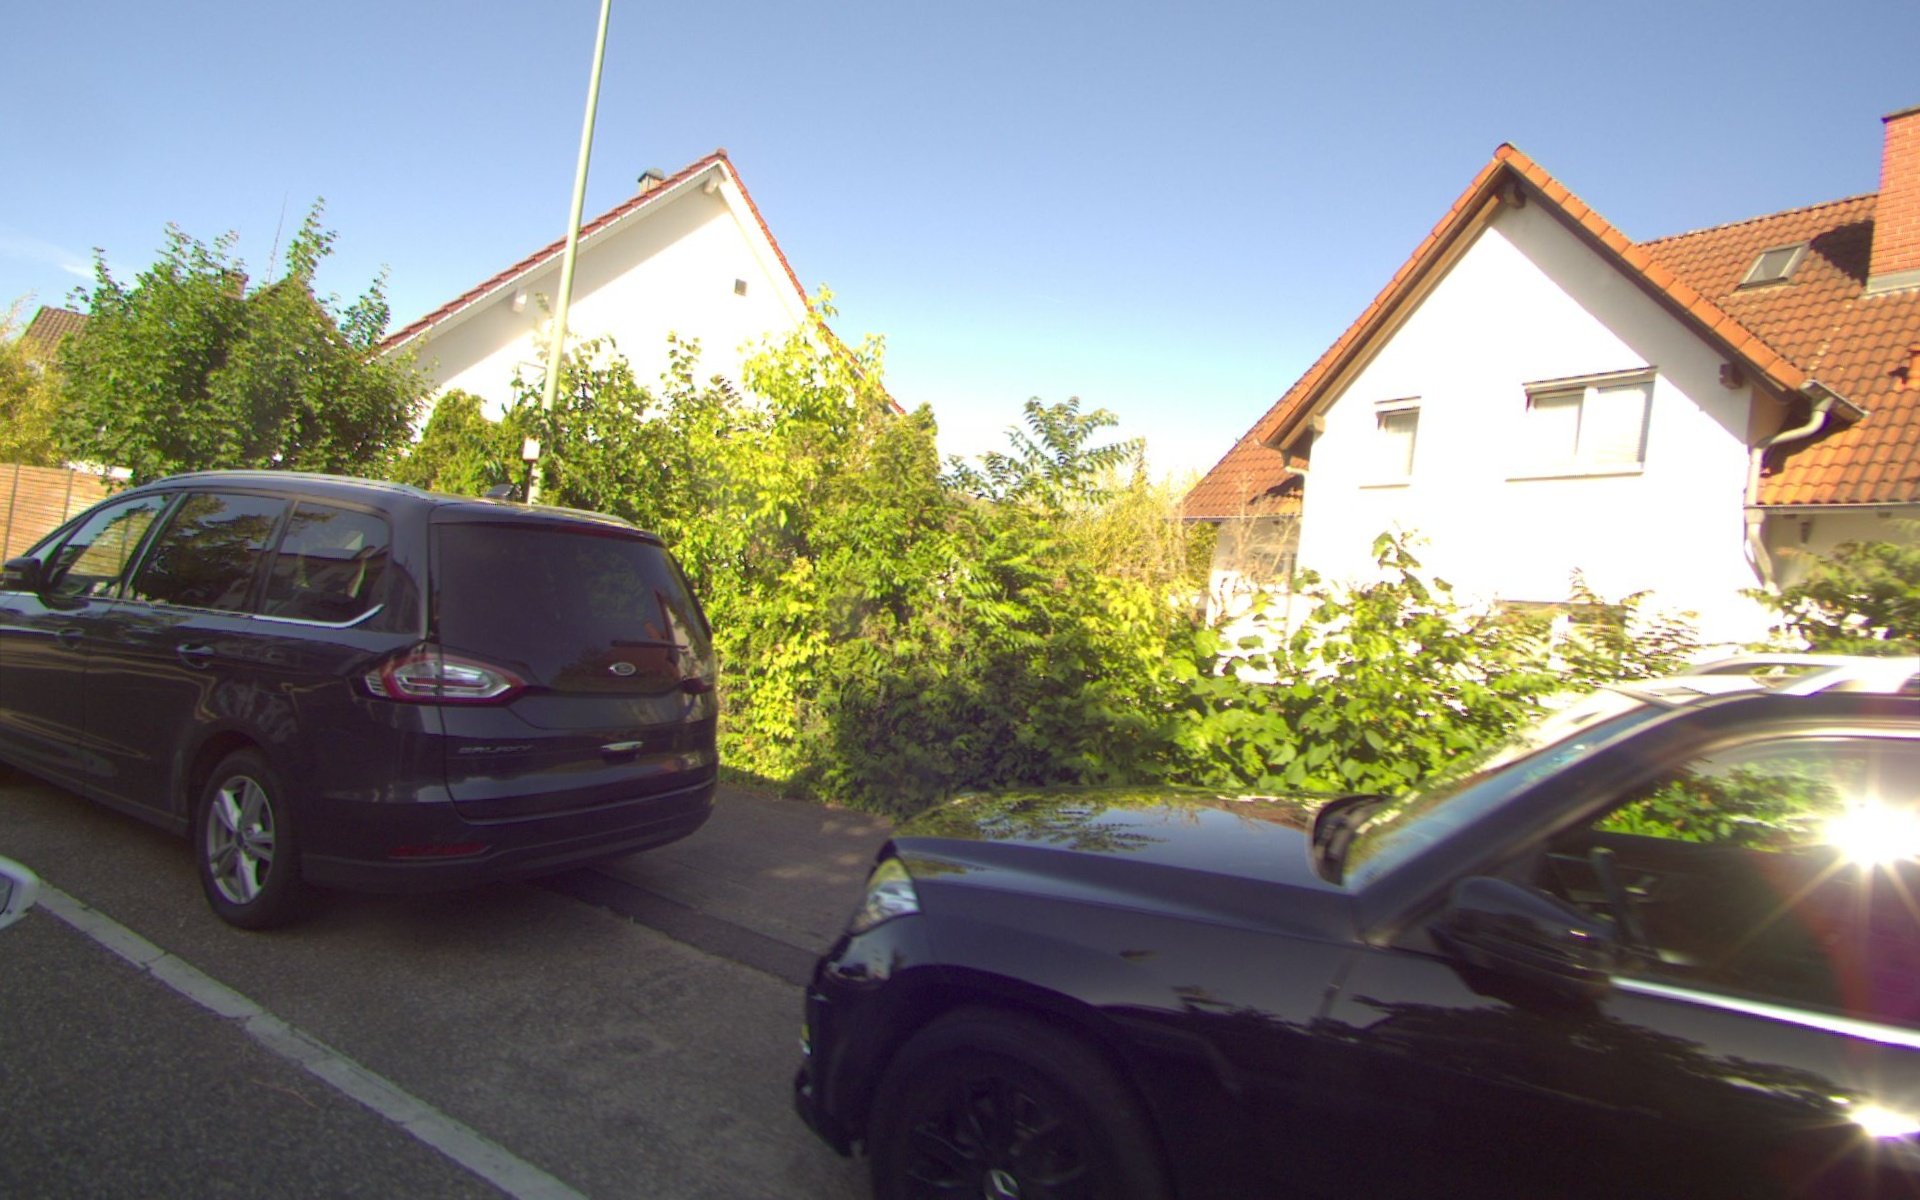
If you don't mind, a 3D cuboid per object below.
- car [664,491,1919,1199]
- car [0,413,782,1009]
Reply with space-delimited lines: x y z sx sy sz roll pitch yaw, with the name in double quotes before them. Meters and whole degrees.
"car" 1.670 0.889 2.191 4.319 1.695 1.767 7 -1 29
"car" -3.261 0.227 4.996 4.352 1.834 1.747 7 -1 28
